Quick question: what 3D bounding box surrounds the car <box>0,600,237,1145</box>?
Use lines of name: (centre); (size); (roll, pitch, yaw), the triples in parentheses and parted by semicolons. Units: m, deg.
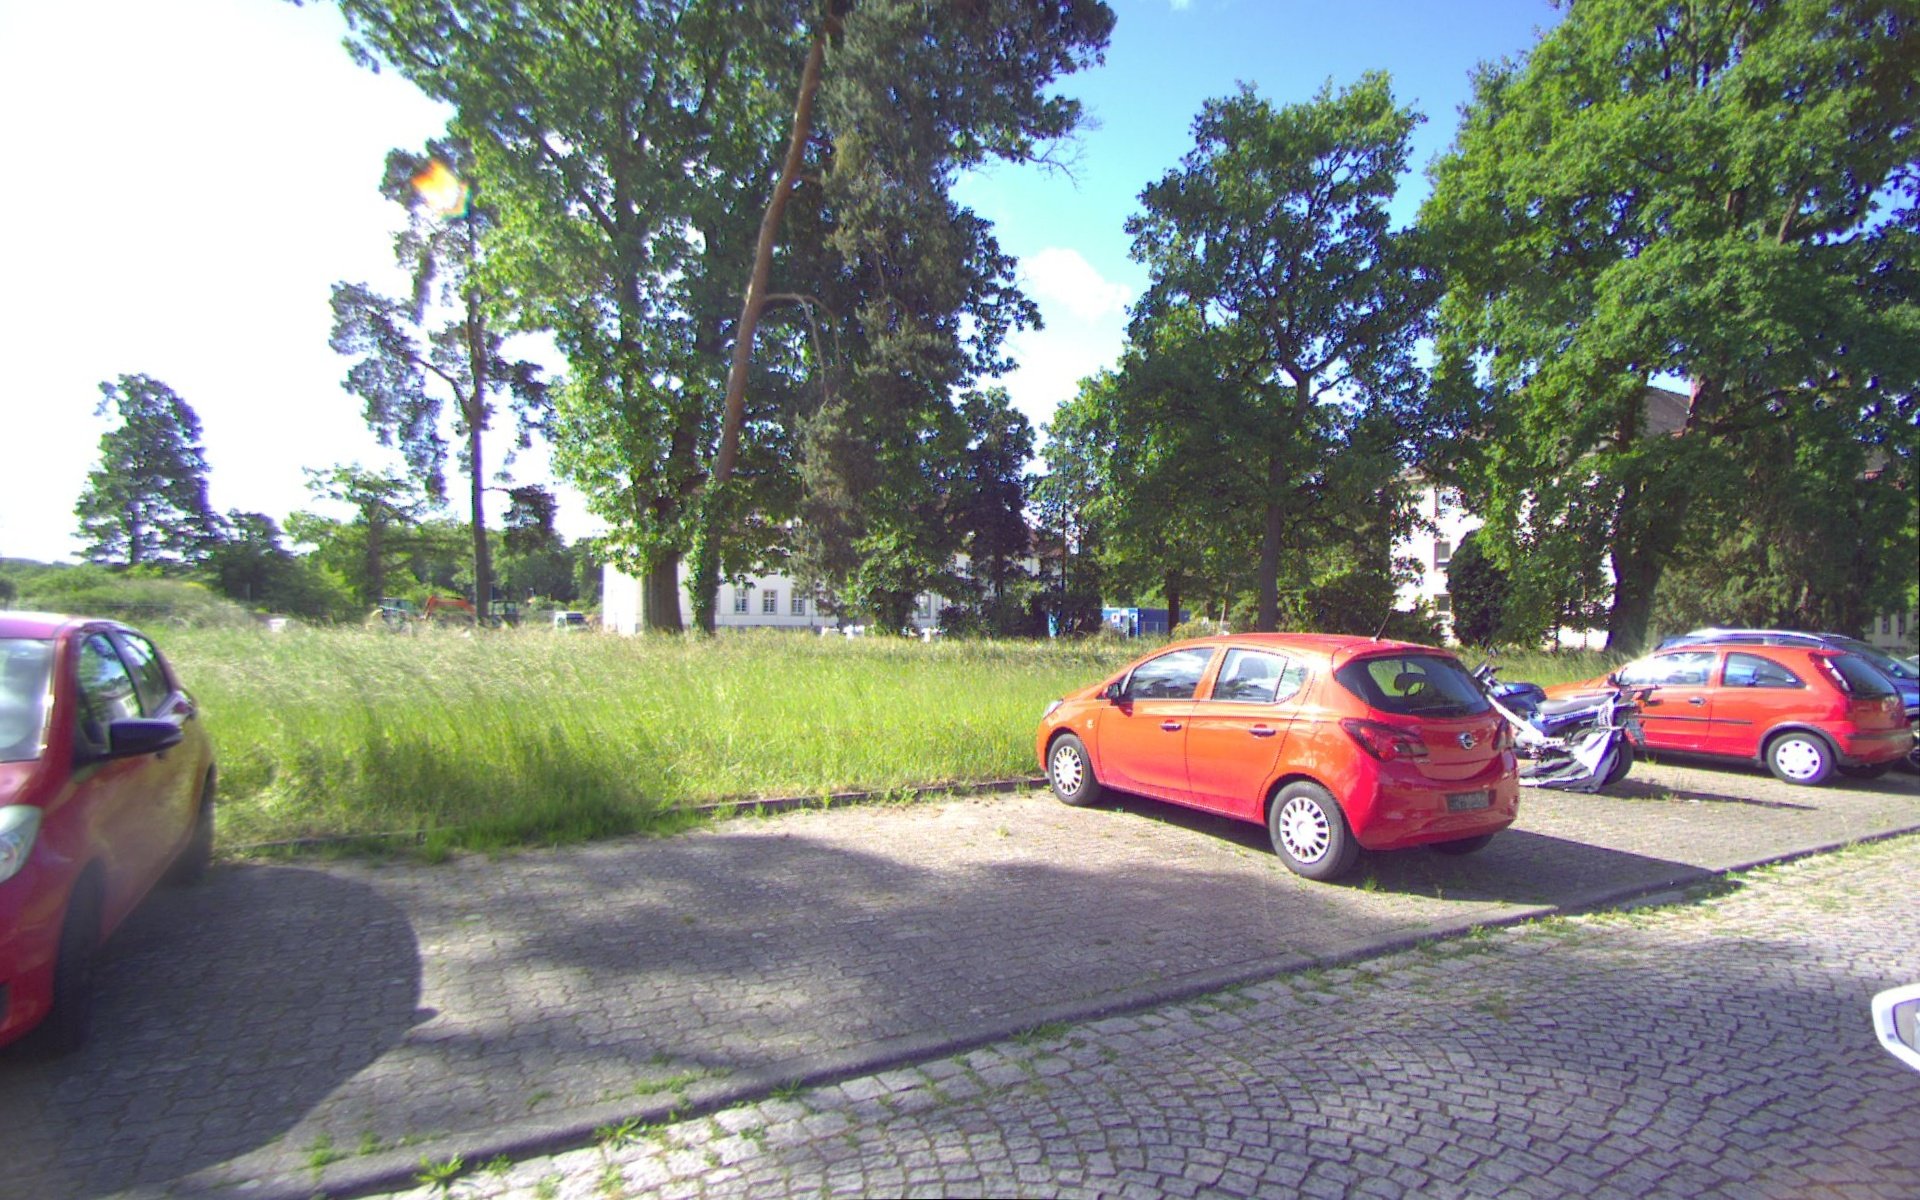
car: (-4.348, 0.770, 4.132); (1.845, 1.468, 3.903); (1, 0, -31)

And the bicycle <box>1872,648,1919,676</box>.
bicycle: (39.374, 2.583, 41.919); (1.889, 1.117, 0.568); (0, 0, 38)

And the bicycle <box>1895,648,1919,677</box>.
bicycle: (38.692, 2.516, 40.162); (1.891, 1.117, 0.567); (0, 0, 42)

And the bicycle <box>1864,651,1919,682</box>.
bicycle: (35.390, 2.492, 37.875); (1.888, 1.117, 0.568); (-1, 0, 37)

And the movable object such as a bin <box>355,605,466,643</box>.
movable object such as a bin: (-32.468, 1.408, 59.372); (5.565, 2.153, 2.530); (0, -2, 16)

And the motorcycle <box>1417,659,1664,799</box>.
motorcycle: (5.863, 1.247, 10.332); (0.570, 1.177, 2.233); (2, -1, -28)

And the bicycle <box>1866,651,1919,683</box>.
bicycle: (35.070, 2.482, 37.441); (1.888, 1.117, 0.568); (-1, 0, 37)

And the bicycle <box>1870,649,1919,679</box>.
bicycle: (36.653, 2.487, 38.983); (1.886, 1.117, 0.569); (0, 0, 33)

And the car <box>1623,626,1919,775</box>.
car: (11.086, 1.184, 12.707); (1.862, 1.600, 4.117); (1, -1, -29)

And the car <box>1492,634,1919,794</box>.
car: (8.760, 1.195, 12.023); (1.819, 1.452, 3.907); (1, -1, -28)

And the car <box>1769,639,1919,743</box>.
car: (15.105, 1.391, 14.991); (1.896, 1.464, 4.345); (1, -1, -26)

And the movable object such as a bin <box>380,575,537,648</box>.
movable object such as a bin: (-27.878, 0.730, 56.059); (3.868, 3.780, 6.768); (0, -2, 36)

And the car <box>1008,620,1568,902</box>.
car: (2.204, 0.950, 7.783); (1.821, 1.480, 3.903); (1, 0, -31)
